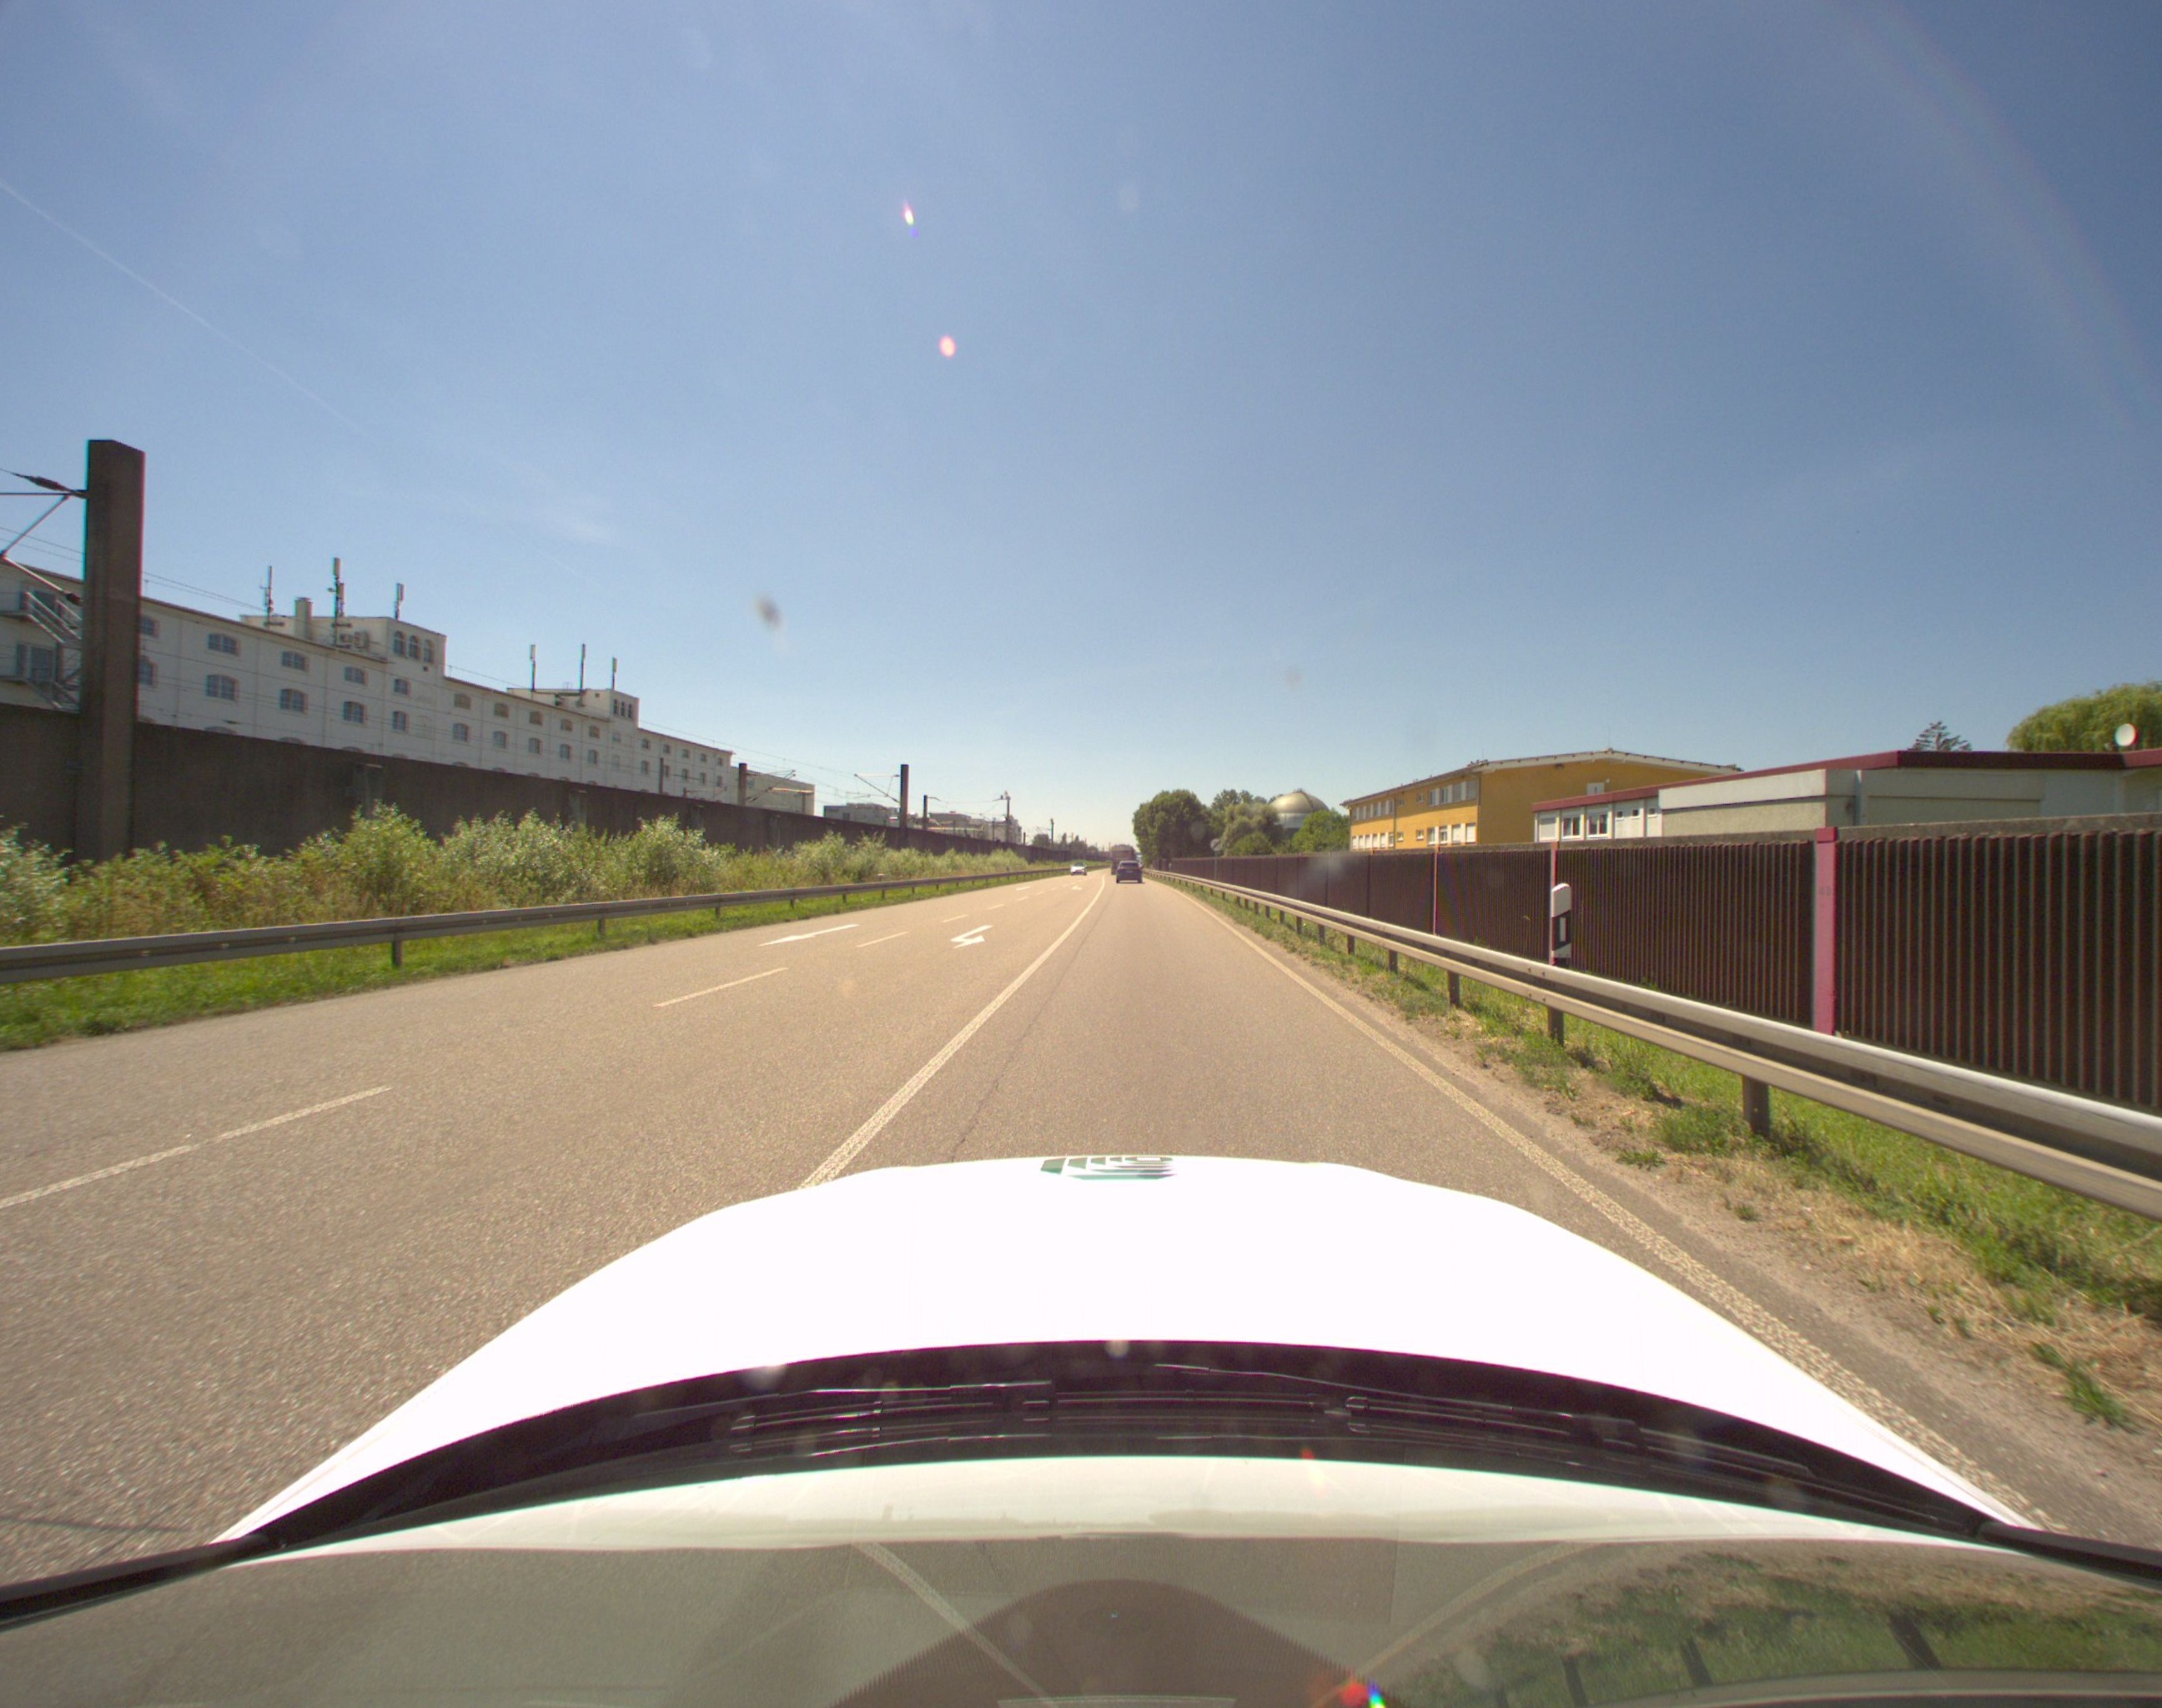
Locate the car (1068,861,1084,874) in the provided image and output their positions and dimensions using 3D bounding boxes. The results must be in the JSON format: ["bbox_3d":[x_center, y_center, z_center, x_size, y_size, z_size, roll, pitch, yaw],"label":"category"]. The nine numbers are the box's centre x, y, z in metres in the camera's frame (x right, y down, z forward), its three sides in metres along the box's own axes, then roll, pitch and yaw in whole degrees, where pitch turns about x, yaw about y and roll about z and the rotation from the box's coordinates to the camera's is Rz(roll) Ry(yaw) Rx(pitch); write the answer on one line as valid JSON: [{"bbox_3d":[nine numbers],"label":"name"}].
[{"bbox_3d":[-0.522,1.517,92.289,1.665,1.502,3.724,0,-1,3],"label":"car"}]

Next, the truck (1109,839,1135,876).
[{"bbox_3d":[4.913,0.545,99.647,2.984,4.181,11.812,0,-1,2],"label":"truck"}]

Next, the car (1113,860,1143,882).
[{"bbox_3d":[3.348,1.241,57.631,1.985,1.503,4.003,1,-2,4],"label":"car"}]

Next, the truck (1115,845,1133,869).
[{"bbox_3d":[7.149,0.556,136.661,2.984,3.720,10.563,0,-1,2],"label":"truck"}]
